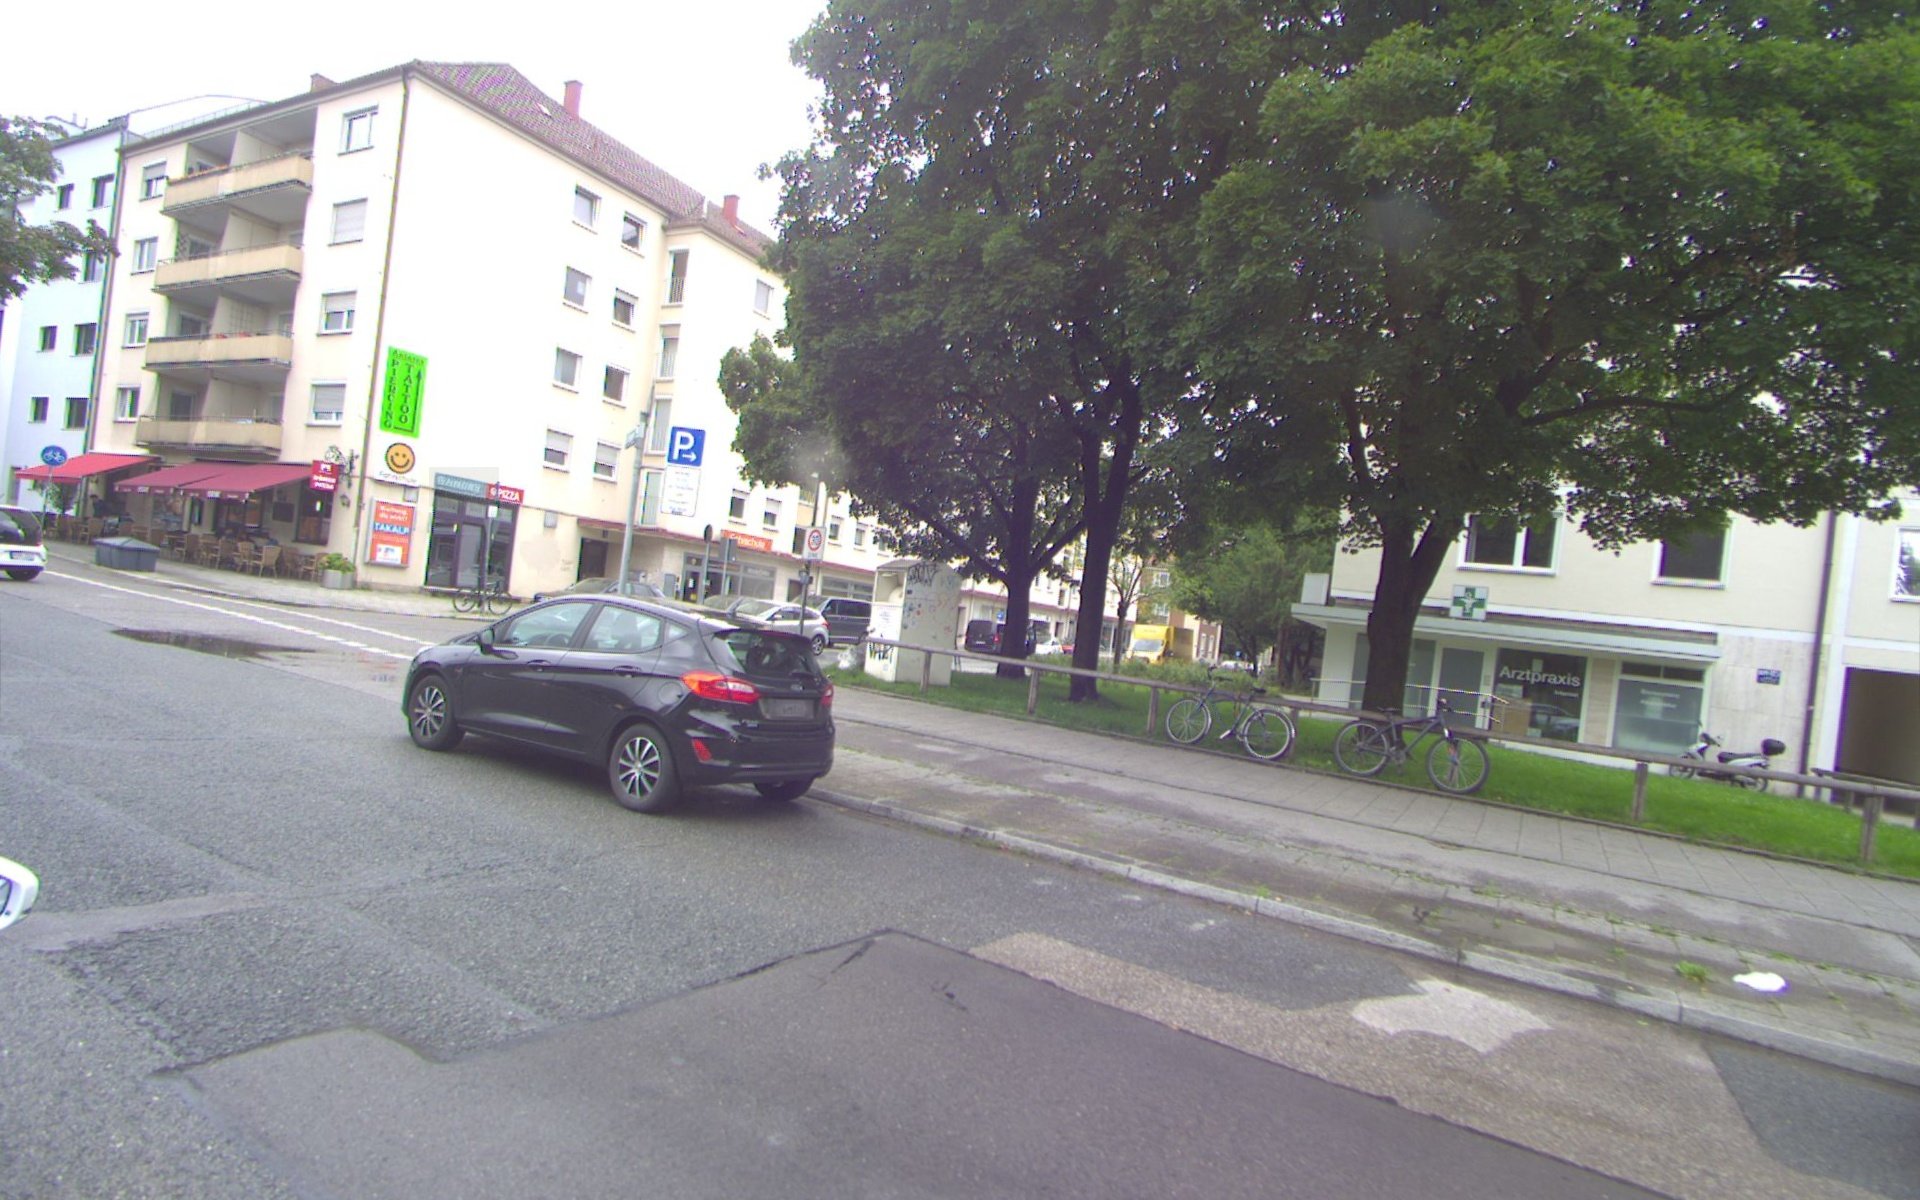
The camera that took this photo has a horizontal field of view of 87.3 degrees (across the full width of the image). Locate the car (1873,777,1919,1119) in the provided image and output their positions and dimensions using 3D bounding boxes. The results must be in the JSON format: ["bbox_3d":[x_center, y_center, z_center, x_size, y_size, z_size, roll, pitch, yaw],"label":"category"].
[{"bbox_3d":[5.909,1.694,3.068,4.216,1.452,1.826,7,-3,31],"label":"car"}]

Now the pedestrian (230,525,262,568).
[{"bbox_3d":[-22.061,-1.638,31.092,0.479,1.229,0.539,7,0,31],"label":"pedestrian"}]

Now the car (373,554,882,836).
[{"bbox_3d":[-2.770,0.641,8.158,3.890,1.494,1.647,7,-1,31],"label":"car"}]

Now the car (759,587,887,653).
[{"bbox_3d":[-5.018,0.789,37.562,1.966,1.907,4.994,7,-1,29],"label":"car"}]

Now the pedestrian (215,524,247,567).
[{"bbox_3d":[-22.895,-1.709,31.582,0.478,1.283,0.539,7,0,30],"label":"pedestrian"}]

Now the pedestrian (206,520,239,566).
[{"bbox_3d":[-23.595,-1.814,32.183,0.543,1.355,0.539,7,0,30],"label":"pedestrian"}]

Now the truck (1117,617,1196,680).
[{"bbox_3d":[10.504,2.652,53.270,2.236,2.803,6.765,7,-1,26],"label":"truck"}]

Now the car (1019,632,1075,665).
[{"bbox_3d":[4.886,2.706,55.983,1.573,1.459,3.764,7,-1,29],"label":"car"}]

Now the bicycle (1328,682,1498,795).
[{"bbox_3d":[5.486,1.652,12.224,1.738,1.067,0.470,6,-1,31],"label":"bicycle"}]

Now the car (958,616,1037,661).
[{"bbox_3d":[1.960,1.997,51.069,2.117,1.806,4.999,7,-1,24],"label":"car"}]

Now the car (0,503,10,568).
[{"bbox_3d":[-11.624,-0.516,10.031,4.612,1.493,1.826,7,-3,31],"label":"car"}]

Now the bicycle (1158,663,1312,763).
[{"bbox_3d":[3.634,1.481,13.363,1.822,1.027,0.448,7,0,32],"label":"bicycle"}]

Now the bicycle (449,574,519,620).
[{"bbox_3d":[-12.798,-0.071,27.066,0.545,1.023,1.541,7,-1,34],"label":"bicycle"}]

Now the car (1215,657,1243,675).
[{"bbox_3d":[25.895,6.378,96.805,1.573,1.459,3.764,7,-1,29],"label":"car"}]

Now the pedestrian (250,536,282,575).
[{"bbox_3d":[-20.831,-1.340,30.202,0.479,1.066,0.539,7,0,31],"label":"pedestrian"}]

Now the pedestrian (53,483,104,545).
[{"bbox_3d":[-30.427,-2.947,34.733,0.747,1.952,0.871,7,0,15],"label":"pedestrian"}]

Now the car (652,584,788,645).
[{"bbox_3d":[-7.614,0.495,32.268,1.966,1.459,3.996,7,-1,29],"label":"car"}]

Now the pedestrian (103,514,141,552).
[{"bbox_3d":[-29.001,-2.328,34.800,0.636,1.177,0.745,7,0,31],"label":"pedestrian"}]

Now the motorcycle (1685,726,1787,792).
[{"bbox_3d":[16.834,3.428,21.863,1.595,1.133,0.605,7,0,32],"label":"motorcycle"}]

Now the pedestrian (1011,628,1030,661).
[{"bbox_3d":[3.058,2.246,50.551,0.486,1.551,0.733,7,0,31],"label":"pedestrian"}]

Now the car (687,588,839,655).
[{"bbox_3d":[-5.675,0.671,29.505,1.966,1.459,4.217,7,-1,30],"label":"car"}]

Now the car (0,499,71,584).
[{"bbox_3d":[-19.465,-1.313,19.136,3.374,1.507,1.691,8,-1,-5],"label":"car"}]

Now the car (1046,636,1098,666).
[{"bbox_3d":[6.722,3.041,59.978,1.573,1.459,3.764,7,-1,29],"label":"car"}]

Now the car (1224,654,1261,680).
[{"bbox_3d":[20.659,4.904,73.508,1.573,1.638,3.764,7,-1,29],"label":"car"}]

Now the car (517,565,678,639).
[{"bbox_3d":[-9.940,0.103,27.894,1.701,1.537,3.934,7,-1,29],"label":"car"}]

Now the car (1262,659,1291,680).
[{"bbox_3d":[29.037,6.363,92.213,1.573,1.638,3.764,7,-1,29],"label":"car"}]
